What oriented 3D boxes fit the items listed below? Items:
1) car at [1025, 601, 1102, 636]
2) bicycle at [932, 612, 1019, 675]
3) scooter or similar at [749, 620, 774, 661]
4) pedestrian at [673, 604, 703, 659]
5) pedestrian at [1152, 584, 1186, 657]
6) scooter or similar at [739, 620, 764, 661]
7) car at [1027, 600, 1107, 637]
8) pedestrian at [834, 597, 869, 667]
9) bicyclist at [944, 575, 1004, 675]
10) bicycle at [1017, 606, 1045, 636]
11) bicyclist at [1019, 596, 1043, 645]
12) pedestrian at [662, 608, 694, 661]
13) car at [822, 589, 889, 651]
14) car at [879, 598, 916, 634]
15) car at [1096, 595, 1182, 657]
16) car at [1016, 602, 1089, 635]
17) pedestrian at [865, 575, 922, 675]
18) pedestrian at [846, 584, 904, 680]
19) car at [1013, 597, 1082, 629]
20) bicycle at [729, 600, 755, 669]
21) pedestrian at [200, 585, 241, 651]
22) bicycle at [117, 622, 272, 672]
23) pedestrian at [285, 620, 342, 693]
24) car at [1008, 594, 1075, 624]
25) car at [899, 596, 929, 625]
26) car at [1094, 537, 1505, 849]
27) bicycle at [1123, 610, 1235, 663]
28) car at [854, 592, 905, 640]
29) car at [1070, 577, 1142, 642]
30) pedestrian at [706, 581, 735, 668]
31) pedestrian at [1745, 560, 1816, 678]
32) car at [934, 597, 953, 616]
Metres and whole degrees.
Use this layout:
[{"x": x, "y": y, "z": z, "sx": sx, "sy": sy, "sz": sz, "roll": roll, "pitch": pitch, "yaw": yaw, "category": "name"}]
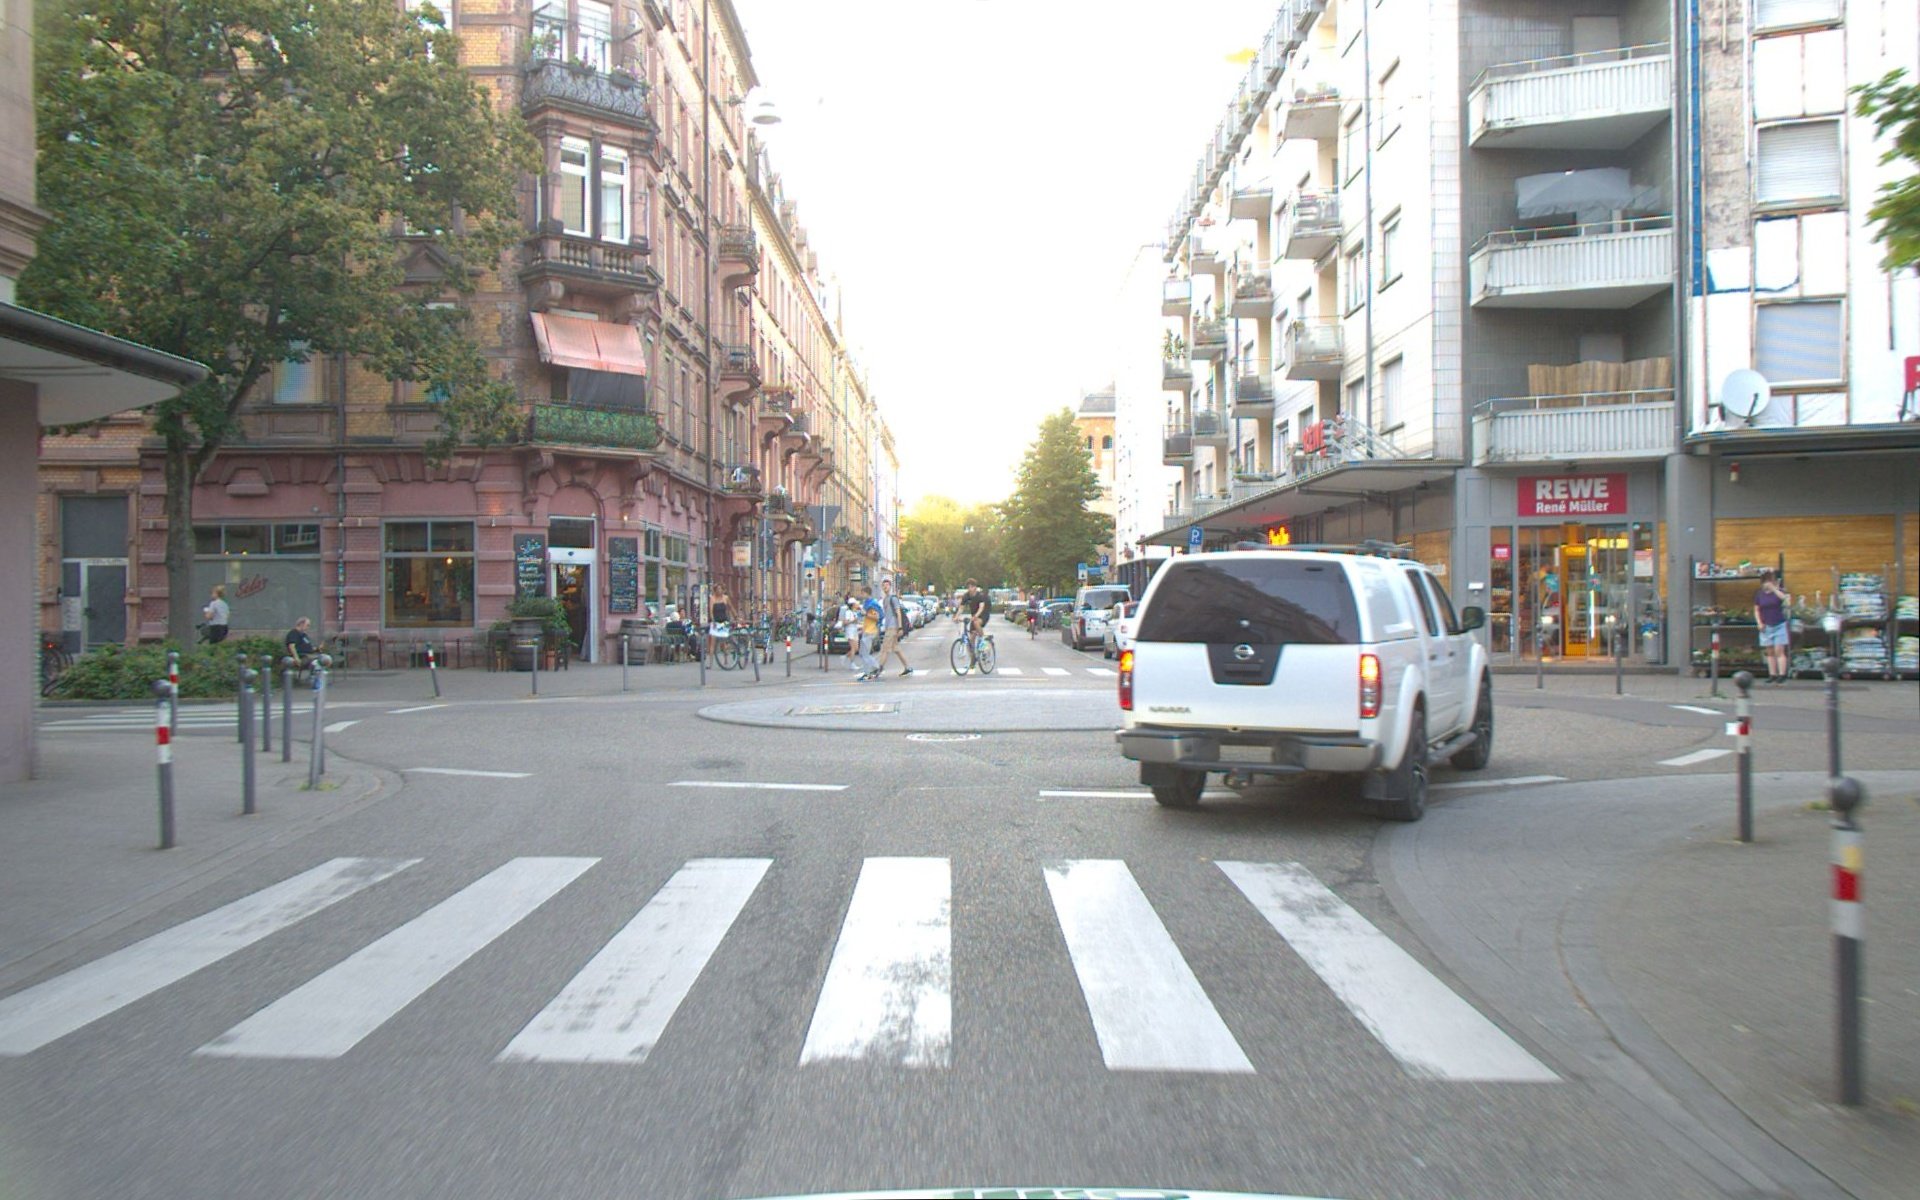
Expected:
[{"x": 5.397, "y": 0.976, "z": 86.630, "sx": 3.906, "sy": 1.780, "sz": 1.840, "roll": 1, "pitch": -1, "yaw": -1, "category": "car"}, {"x": 0.322, "y": 0.839, "z": 32.428, "sx": 0.823, "sy": 1.192, "sz": 1.930, "roll": 0, "pitch": -1, "yaw": 32, "category": "bicycle"}, {"x": -4.774, "y": 0.971, "z": 39.751, "sx": 0.230, "sy": 0.945, "sz": 1.256, "roll": 1, "pitch": -1, "yaw": -24, "category": "scooter or similar"}, {"x": -6.518, "y": 0.756, "z": 39.638, "sx": 0.635, "sy": 1.308, "sz": 0.539, "roll": 1, "pitch": -1, "yaw": -4, "category": "pedestrian"}, {"x": 4.918, "y": 0.488, "z": 38.953, "sx": 0.705, "sy": 1.692, "sz": 0.702, "roll": 1, "pitch": -1, "yaw": 0, "category": "pedestrian"}, {"x": -5.006, "y": 0.966, "z": 39.636, "sx": 0.230, "sy": 0.945, "sz": 1.256, "roll": 1, "pitch": -1, "yaw": -24, "category": "scooter or similar"}, {"x": 5.445, "y": 0.955, "z": 84.392, "sx": 3.906, "sy": 1.780, "sz": 1.840, "roll": 1, "pitch": -1, "yaw": -1, "category": "car"}, {"x": -2.592, "y": 0.762, "z": 39.630, "sx": 0.782, "sy": 1.649, "sz": 0.944, "roll": 1, "pitch": -1, "yaw": -2, "category": "pedestrian"}, {"x": 0.271, "y": 0.479, "z": 32.321, "sx": 0.823, "sy": 1.909, "sz": 0.876, "roll": 0, "pitch": -1, "yaw": 33, "category": "bicyclist"}, {"x": 2.877, "y": 0.851, "z": 66.661, "sx": 0.820, "sy": 1.192, "sz": 1.937, "roll": 1, "pitch": -1, "yaw": 12, "category": "bicycle"}, {"x": 2.875, "y": 0.828, "z": 66.645, "sx": 0.820, "sy": 1.978, "sz": 0.785, "roll": 1, "pitch": -1, "yaw": 10, "category": "bicyclist"}, {"x": -6.552, "y": 0.792, "z": 38.452, "sx": 0.635, "sy": 1.212, "sz": 0.539, "roll": 1, "pitch": -1, "yaw": -4, "category": "pedestrian"}, {"x": -3.157, "y": 0.600, "z": 50.568, "sx": 1.797, "sy": 1.780, "sz": 3.999, "roll": 1, "pitch": -1, "yaw": -1, "category": "car"}, {"x": -3.267, "y": 0.835, "z": 86.642, "sx": 1.797, "sy": 1.780, "sz": 3.999, "roll": 1, "pitch": -1, "yaw": -1, "category": "car"}, {"x": 4.741, "y": 0.686, "z": 44.279, "sx": 1.797, "sy": 1.569, "sz": 3.999, "roll": 1, "pitch": -1, "yaw": -1, "category": "car"}, {"x": 5.131, "y": 1.028, "z": 92.202, "sx": 3.906, "sy": 1.780, "sz": 1.840, "roll": 1, "pitch": -1, "yaw": -1, "category": "car"}, {"x": -1.290, "y": 0.485, "z": 32.079, "sx": 0.894, "sy": 1.918, "sz": 0.609, "roll": 1, "pitch": -1, "yaw": -31, "category": "pedestrian"}, {"x": -1.585, "y": 0.600, "z": 30.919, "sx": 0.894, "sy": 1.767, "sz": 0.609, "roll": 1, "pitch": -1, "yaw": -31, "category": "pedestrian"}, {"x": 5.100, "y": 0.768, "z": 96.544, "sx": 3.906, "sy": 1.780, "sz": 1.840, "roll": 1, "pitch": -1, "yaw": -1, "category": "car"}, {"x": -4.760, "y": 0.743, "z": 36.163, "sx": 0.415, "sy": 1.468, "sz": 1.903, "roll": 1, "pitch": -1, "yaw": -4, "category": "bicycle"}, {"x": -14.682, "y": 0.353, "z": 32.831, "sx": 0.446, "sy": 1.284, "sz": 0.575, "roll": 0, "pitch": -1, "yaw": 25, "category": "pedestrian"}, {"x": -15.651, "y": 0.954, "z": 33.851, "sx": 2.837, "sy": 0.975, "sz": 0.625, "roll": 1, "pitch": -1, "yaw": -1, "category": "bicycle"}, {"x": -11.590, "y": 1.008, "z": 29.653, "sx": 0.738, "sy": 1.284, "sz": 0.668, "roll": 1, "pitch": -1, "yaw": -1, "category": "pedestrian"}, {"x": 4.901, "y": 0.545, "z": 99.387, "sx": 3.906, "sy": 1.780, "sz": 1.840, "roll": 1, "pitch": -1, "yaw": -1, "category": "car"}, {"x": -2.849, "y": 0.681, "z": 103.729, "sx": 1.797, "sy": 1.780, "sz": 3.999, "roll": 1, "pitch": -1, "yaw": -1, "category": "car"}, {"x": 2.772, "y": 0.495, "z": 12.405, "sx": 1.900, "sy": 1.841, "sz": 4.997, "roll": 0, "pitch": 1, "yaw": 25, "category": "car"}, {"x": 5.029, "y": 0.832, "z": 38.038, "sx": 2.413, "sy": 1.056, "sz": 0.616, "roll": -3, "pitch": 0, "yaw": -5, "category": "bicycle"}, {"x": -3.113, "y": 0.636, "z": 64.624, "sx": 1.797, "sy": 1.780, "sz": 4.162, "roll": 1, "pitch": -1, "yaw": -1, "category": "car"}, {"x": 4.652, "y": 0.307, "z": 53.063, "sx": 1.903, "sy": 1.967, "sz": 3.999, "roll": 1, "pitch": -1, "yaw": -1, "category": "car"}, {"x": -5.216, "y": 0.532, "z": 36.018, "sx": 0.497, "sy": 1.872, "sz": 0.569, "roll": 1, "pitch": -1, "yaw": -22, "category": "pedestrian"}, {"x": 11.970, "y": 0.279, "z": 24.136, "sx": 0.707, "sy": 1.681, "sz": 0.708, "roll": 2, "pitch": -1, "yaw": -40, "category": "pedestrian"}, {"x": -1.564, "y": 0.655, "z": 160.197, "sx": 1.797, "sy": 1.780, "sz": 3.999, "roll": 1, "pitch": -1, "yaw": -1, "category": "car"}]
